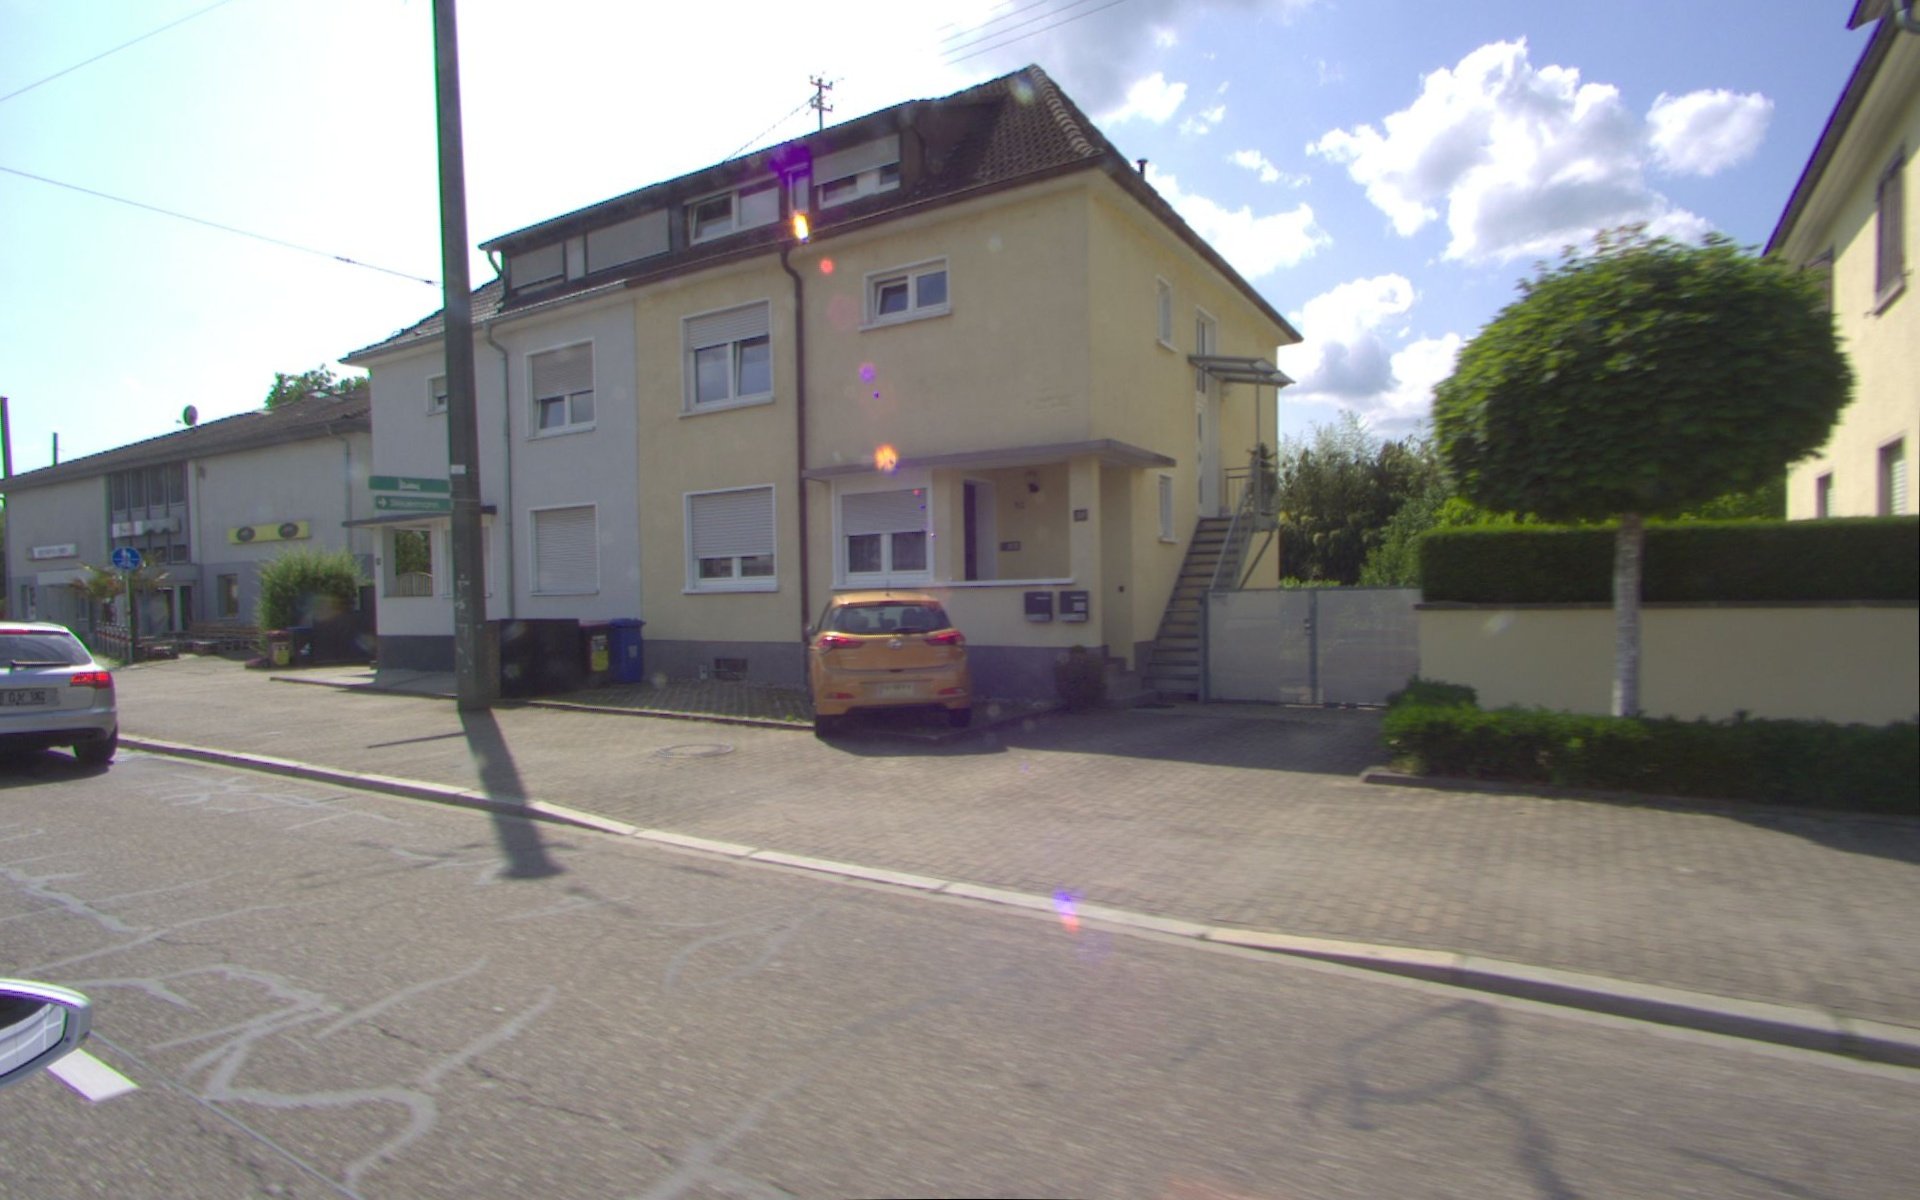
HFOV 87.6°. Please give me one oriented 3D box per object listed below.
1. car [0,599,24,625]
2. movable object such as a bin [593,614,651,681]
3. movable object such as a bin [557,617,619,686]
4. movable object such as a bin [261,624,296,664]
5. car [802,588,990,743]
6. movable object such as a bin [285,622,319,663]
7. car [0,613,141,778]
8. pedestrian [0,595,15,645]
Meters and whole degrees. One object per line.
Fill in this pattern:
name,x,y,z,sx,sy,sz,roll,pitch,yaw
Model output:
car,-72.653,0.877,74.076,1.973,1.962,4.662,0,0,35
movable object such as a bin,-5.622,0.780,16.643,0.649,1.069,0.644,0,1,31
movable object such as a bin,-5.946,0.804,16.017,0.675,1.061,0.637,0,1,31
movable object such as a bin,-15.866,1.016,23.325,0.537,0.907,0.444,0,2,26
car,-0.948,0.629,12.106,1.880,1.478,4.088,0,2,-9
movable object such as a bin,-15.611,1.003,23.759,0.541,0.947,0.440,0,2,26
car,-10.617,0.900,10.588,4.473,1.512,1.850,0,0,34
pedestrian,-35.073,0.735,36.466,0.693,1.808,0.719,0,4,33
